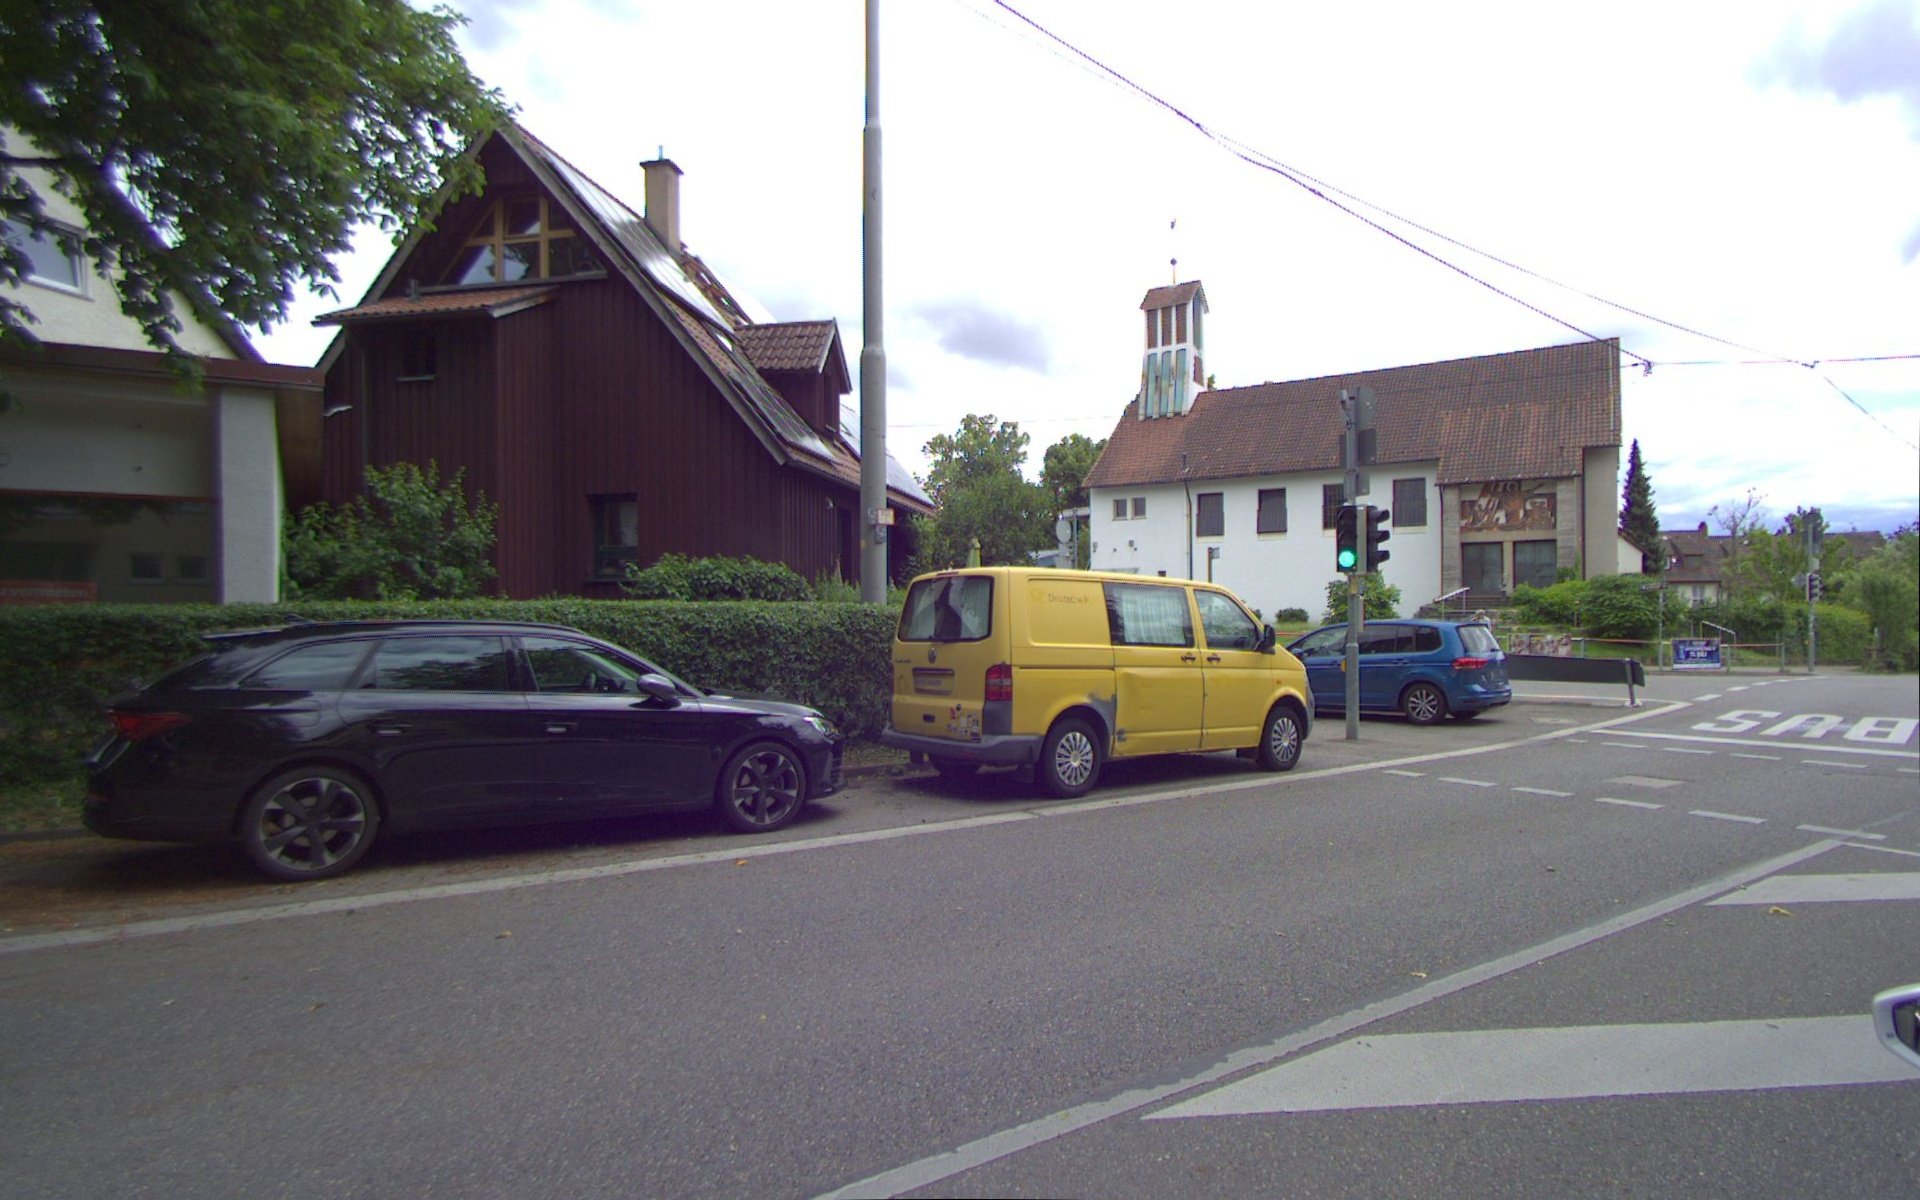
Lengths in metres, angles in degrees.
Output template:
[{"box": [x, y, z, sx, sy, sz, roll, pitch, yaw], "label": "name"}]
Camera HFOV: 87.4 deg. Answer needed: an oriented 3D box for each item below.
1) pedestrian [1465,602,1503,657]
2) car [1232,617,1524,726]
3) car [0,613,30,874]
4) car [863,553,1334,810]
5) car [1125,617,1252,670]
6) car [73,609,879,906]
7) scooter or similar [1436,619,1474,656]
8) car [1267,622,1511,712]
[{"box": [16.457, 0.926, 31.552, 0.814, 1.674, 0.690, 2, 0, 4], "label": "pedestrian"}, {"box": [6.843, 1.089, 16.754, 1.832, 1.567, 4.126, 0, -1, -43], "label": "car"}, {"box": [-7.094, 0.734, 4.078, 4.541, 1.469, 1.737, 2, -2, -31], "label": "car"}, {"box": [1.548, 0.714, 10.089, 4.755, 2.015, 1.903, 2, -2, -37], "label": "car"}, {"box": [6.869, 1.291, 30.319, 3.610, 1.509, 1.776, -1, -1, 13], "label": "car"}, {"box": [-2.938, 0.864, 6.920, 4.463, 1.469, 1.736, 2, -2, -32], "label": "car"}, {"box": [15.564, 1.173, 31.602, 0.872, 1.109, 0.612, 2, 0, 4], "label": "scooter or similar"}, {"box": [7.989, 1.177, 18.864, 3.848, 1.491, 1.836, -1, -1, 42], "label": "car"}]
